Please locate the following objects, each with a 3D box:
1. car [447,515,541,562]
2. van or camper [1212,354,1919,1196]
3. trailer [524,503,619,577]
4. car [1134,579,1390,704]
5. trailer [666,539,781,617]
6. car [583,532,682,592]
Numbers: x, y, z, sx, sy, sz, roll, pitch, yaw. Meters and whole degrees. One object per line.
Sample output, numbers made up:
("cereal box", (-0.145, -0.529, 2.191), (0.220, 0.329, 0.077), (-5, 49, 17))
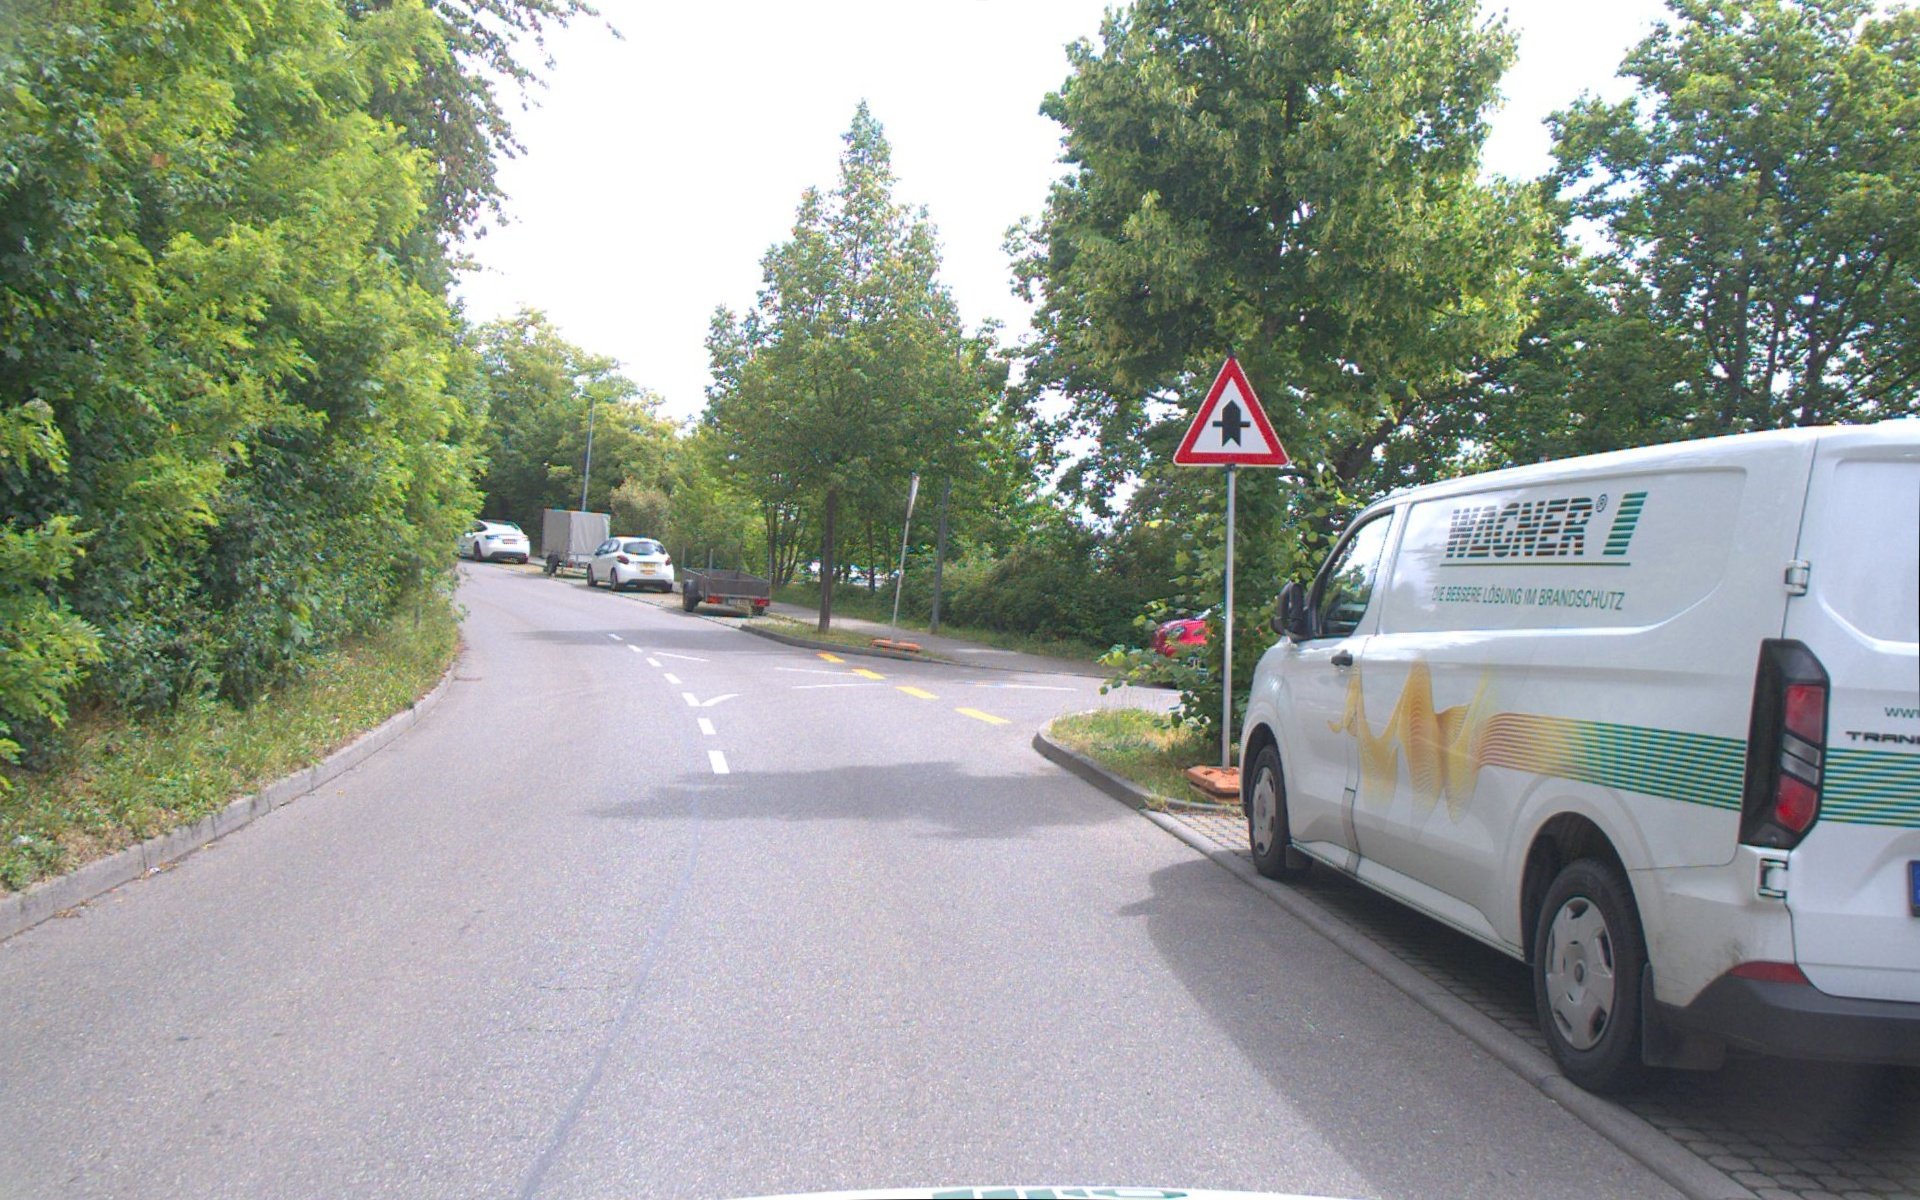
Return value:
("car", (-16.907, -2.226, 59.852), (1.871, 1.399, 4.298), (2, 3, -36))
("van or camper", (2.674, 0.411, 6.569), (1.955, 1.953, 5.259), (3, 1, -6))
("trailer", (-12.477, -1.944, 52.976), (1.723, 2.147, 3.958), (1, 3, -32))
("car", (4.601, 0.614, 25.538), (3.467, 1.506, 1.781), (5, 2, -3))
("trailer", (-5.625, -0.552, 38.951), (1.759, 1.552, 3.975), (3, 3, -22))
("car", (-9.419, -1.111, 47.382), (1.748, 1.435, 3.968), (2, 3, -27))
